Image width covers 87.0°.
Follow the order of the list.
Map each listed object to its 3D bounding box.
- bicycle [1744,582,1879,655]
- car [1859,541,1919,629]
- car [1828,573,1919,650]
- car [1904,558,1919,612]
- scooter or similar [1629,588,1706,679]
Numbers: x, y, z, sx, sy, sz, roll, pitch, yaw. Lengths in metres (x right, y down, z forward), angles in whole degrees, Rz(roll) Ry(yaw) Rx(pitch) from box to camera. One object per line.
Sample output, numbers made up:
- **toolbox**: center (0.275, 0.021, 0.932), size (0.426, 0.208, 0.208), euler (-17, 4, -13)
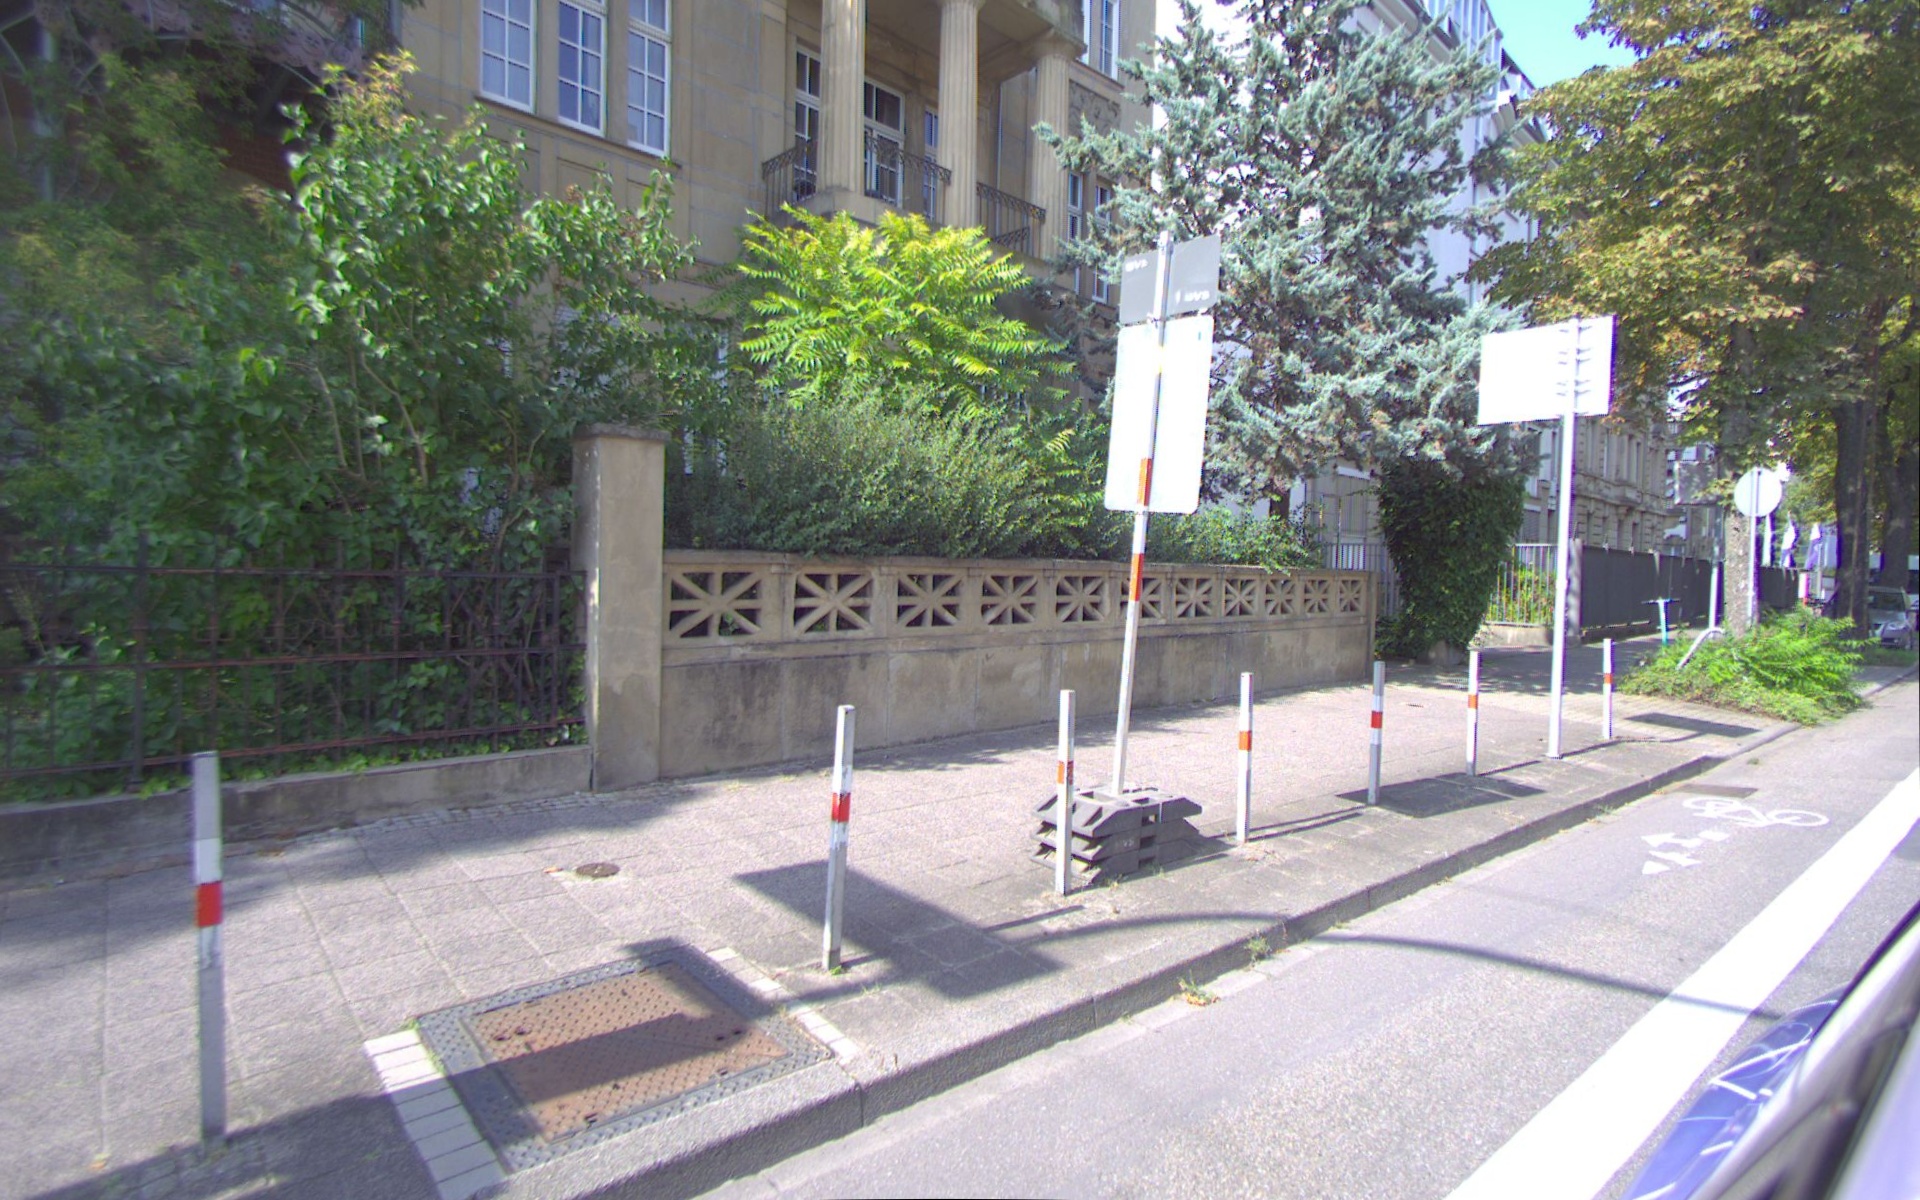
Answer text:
- **bicycle**: center (15.796, 0.342, 18.809), size (1.811, 1.179, 0.505), euler (3, 7, 6)
- **car**: center (29.881, -0.471, 31.719), size (6.127, 2.529, 2.048), euler (-1, 3, -44)
- **car**: center (21.635, 0.205, 23.639), size (4.286, 1.541, 1.609), euler (-1, 6, -45)
- **car**: center (48.713, -0.727, 50.421), size (5.771, 2.571, 1.996), euler (-1, 4, -44)
- **scooter or similar**: center (10.137, 0.461, 14.500), size (1.015, 1.211, 0.559), euler (-1, 6, -39)
